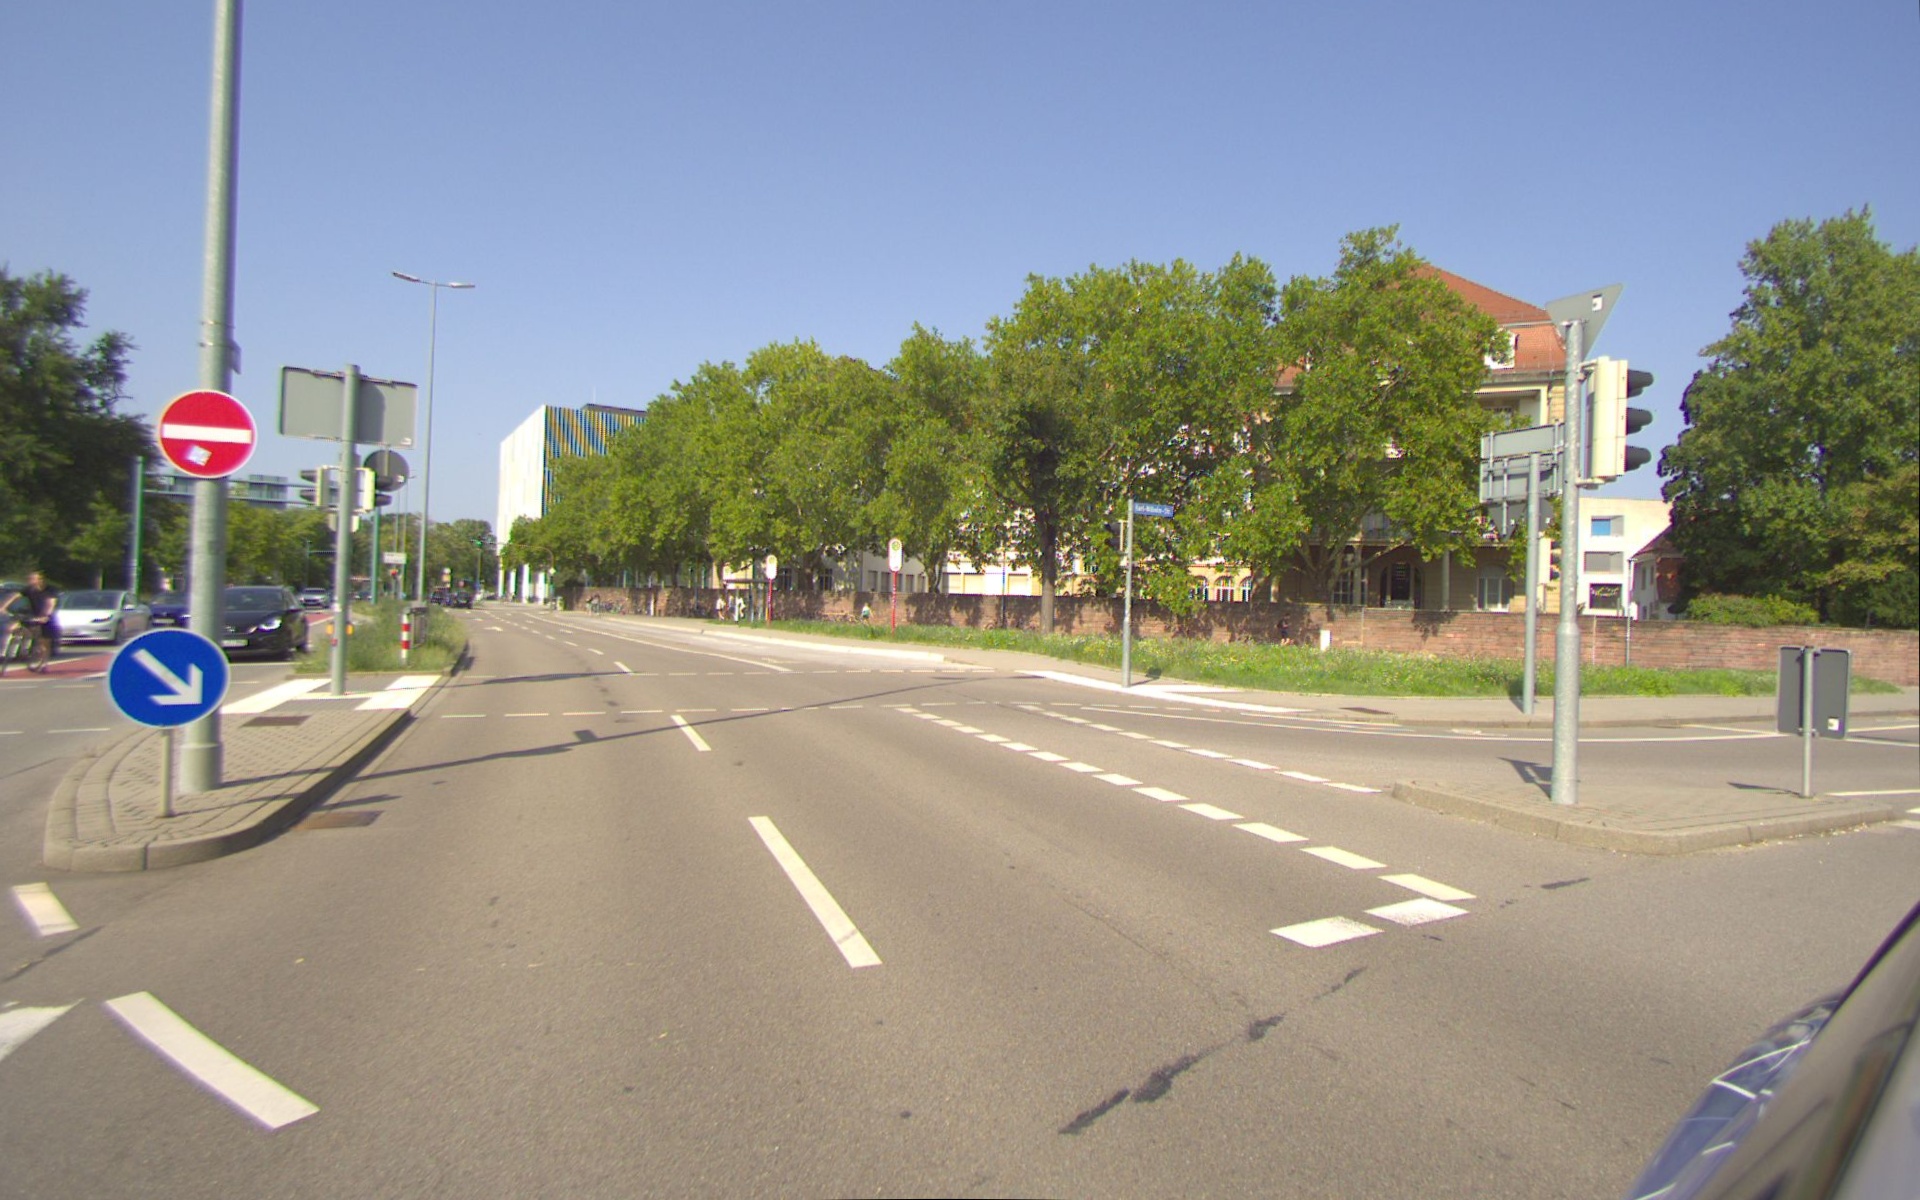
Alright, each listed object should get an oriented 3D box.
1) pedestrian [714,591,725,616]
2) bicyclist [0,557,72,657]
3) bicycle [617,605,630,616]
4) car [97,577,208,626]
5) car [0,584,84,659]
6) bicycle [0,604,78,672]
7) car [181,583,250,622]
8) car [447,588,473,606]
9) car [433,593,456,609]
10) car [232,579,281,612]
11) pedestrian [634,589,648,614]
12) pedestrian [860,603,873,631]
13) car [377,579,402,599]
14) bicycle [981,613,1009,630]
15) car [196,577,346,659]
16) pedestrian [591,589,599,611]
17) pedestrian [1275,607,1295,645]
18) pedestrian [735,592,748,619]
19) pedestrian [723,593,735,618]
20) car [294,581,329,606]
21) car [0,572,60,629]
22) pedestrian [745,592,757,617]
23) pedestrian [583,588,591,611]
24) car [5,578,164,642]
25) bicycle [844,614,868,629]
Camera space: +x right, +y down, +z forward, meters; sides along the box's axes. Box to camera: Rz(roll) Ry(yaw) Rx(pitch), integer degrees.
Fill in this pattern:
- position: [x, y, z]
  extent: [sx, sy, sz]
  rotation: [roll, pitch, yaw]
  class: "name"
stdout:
- position: [-16.141, 0.239, 67.967]
  extent: [0.500, 1.592, 0.527]
  rotation: [-2, -4, 40]
  class: "pedestrian"
- position: [-15.957, 0.118, 17.422]
  extent: [0.733, 1.656, 0.877]
  rotation: [2, -1, -27]
  class: "bicyclist"
- position: [-27.727, 0.836, 83.349]
  extent: [0.426, 0.846, 1.547]
  rotation: [3, -1, -43]
  class: "bicycle"
- position: [-27.621, 0.030, 34.769]
  extent: [1.958, 1.525, 4.302]
  rotation: [2, 0, -25]
  class: "car"
- position: [-20.053, 0.395, 20.675]
  extent: [1.871, 1.418, 4.929]
  rotation: [2, 0, -24]
  class: "car"
- position: [-15.963, 0.630, 17.388]
  extent: [0.754, 1.066, 1.778]
  rotation: [3, 0, -27]
  class: "bicycle"
- position: [-31.519, 0.095, 42.956]
  extent: [1.894, 1.525, 4.299]
  rotation: [2, 0, -31]
  class: "car"
- position: [-46.804, -0.283, 94.711]
  extent: [1.678, 1.594, 4.003]
  rotation: [2, -1, -32]
  class: "car"
- position: [-53.340, 0.072, 104.611]
  extent: [1.678, 1.594, 4.002]
  rotation: [2, -1, -33]
  class: "car"
- position: [-38.882, -0.249, 56.014]
  extent: [1.894, 1.681, 4.299]
  rotation: [2, 0, -31]
  class: "car"
- position: [-25.842, 0.098, 81.890]
  extent: [0.728, 1.979, 0.931]
  rotation: [3, -4, -38]
  class: "pedestrian"
- position: [-5.501, 1.003, 59.511]
  extent: [0.591, 1.673, 0.476]
  rotation: [-2, -4, 38]
  class: "pedestrian"
- position: [-64.324, -1.200, 114.149]
  extent: [1.884, 2.040, 3.997]
  rotation: [3, -3, -37]
  class: "car"
- position: [1.910, 1.161, 55.402]
  extent: [1.540, 0.846, 0.428]
  rotation: [2, -1, 35]
  class: "bicycle"
- position: [-14.870, 0.329, 22.120]
  extent: [1.815, 1.598, 4.723]
  rotation: [0, 0, -23]
  class: "car"
- position: [-29.523, -0.020, 81.909]
  extent: [0.476, 1.763, 0.505]
  rotation: [3, -3, -32]
  class: "pedestrian"
- position: [14.908, 1.185, 46.420]
  extent: [0.711, 1.705, 0.588]
  rotation: [1, -1, 28]
  class: "pedestrian"
- position: [-14.188, 0.361, 65.695]
  extent: [0.592, 1.673, 0.511]
  rotation: [-2, -4, 42]
  class: "pedestrian"
- position: [-15.628, 0.377, 68.438]
  extent: [0.592, 1.673, 0.476]
  rotation: [-2, -4, 42]
  class: "pedestrian"
- position: [-46.754, -0.479, 73.011]
  extent: [1.894, 1.681, 4.299]
  rotation: [2, 0, -31]
  class: "car"
- position: [-27.243, -0.035, 28.443]
  extent: [1.773, 1.525, 3.975]
  rotation: [2, 0, -24]
  class: "car"
- position: [-13.725, 0.305, 66.591]
  extent: [0.592, 1.673, 0.476]
  rotation: [-2, -4, 42]
  class: "pedestrian"
- position: [-30.080, -0.039, 81.637]
  extent: [0.476, 1.763, 0.505]
  rotation: [3, -3, -32]
  class: "pedestrian"
- position: [-23.206, 0.242, 27.047]
  extent: [1.958, 1.525, 4.443]
  rotation: [2, 0, -24]
  class: "car"
- position: [-6.342, 1.307, 61.527]
  extent: [1.542, 0.846, 0.428]
  rotation: [2, -1, 38]
  class: "bicycle"
